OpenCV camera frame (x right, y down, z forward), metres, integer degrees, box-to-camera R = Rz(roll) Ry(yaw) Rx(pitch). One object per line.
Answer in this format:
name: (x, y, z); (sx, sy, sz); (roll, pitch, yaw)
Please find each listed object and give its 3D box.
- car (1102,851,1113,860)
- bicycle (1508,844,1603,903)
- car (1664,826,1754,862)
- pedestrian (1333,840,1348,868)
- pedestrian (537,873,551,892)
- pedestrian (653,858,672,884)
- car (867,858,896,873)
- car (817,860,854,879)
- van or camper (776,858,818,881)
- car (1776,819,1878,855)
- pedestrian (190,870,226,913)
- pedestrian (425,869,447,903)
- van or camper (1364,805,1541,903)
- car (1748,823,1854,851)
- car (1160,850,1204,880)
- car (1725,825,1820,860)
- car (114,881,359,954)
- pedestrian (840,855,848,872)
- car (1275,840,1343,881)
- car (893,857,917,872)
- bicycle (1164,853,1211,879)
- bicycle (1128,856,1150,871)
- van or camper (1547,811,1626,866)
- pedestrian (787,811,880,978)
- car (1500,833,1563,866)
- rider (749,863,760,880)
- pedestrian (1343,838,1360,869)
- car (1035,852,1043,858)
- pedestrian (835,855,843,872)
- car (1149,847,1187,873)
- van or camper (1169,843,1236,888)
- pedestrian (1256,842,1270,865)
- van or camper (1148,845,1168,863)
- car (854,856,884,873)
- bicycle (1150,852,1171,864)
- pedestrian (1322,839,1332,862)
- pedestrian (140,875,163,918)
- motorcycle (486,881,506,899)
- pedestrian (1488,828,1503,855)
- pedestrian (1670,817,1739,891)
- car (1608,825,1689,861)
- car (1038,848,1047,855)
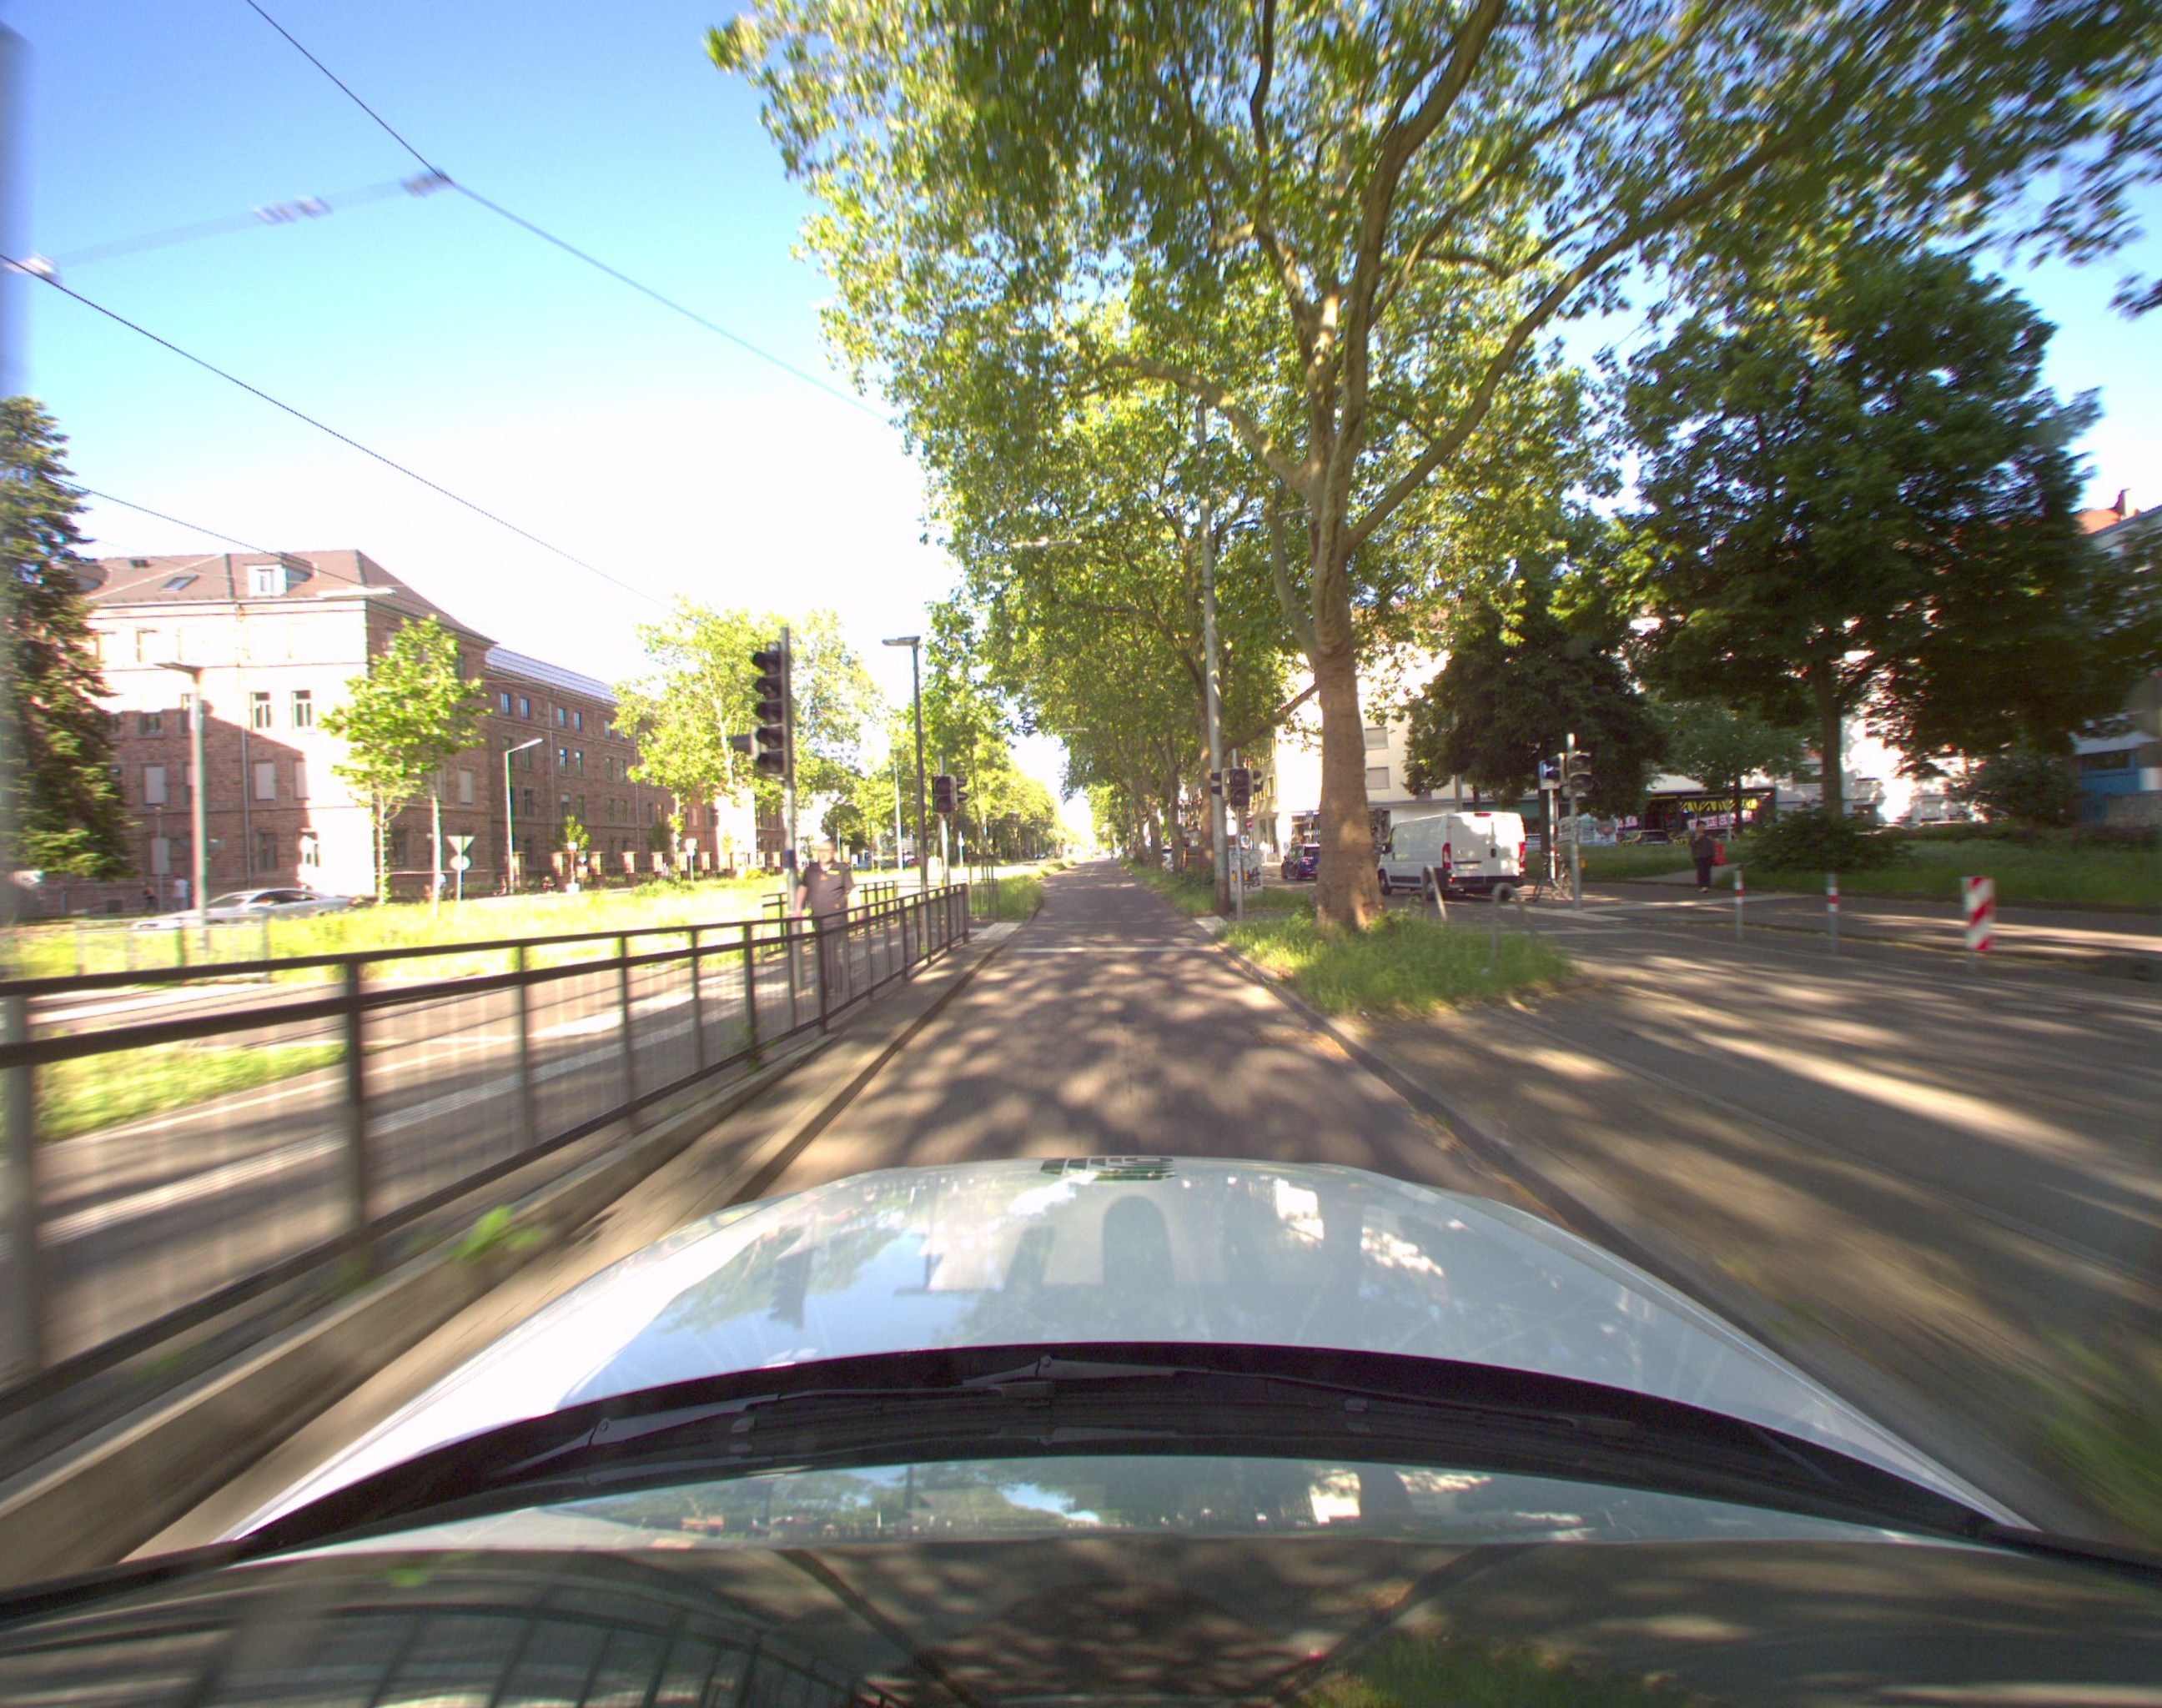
car: (5.063, 0.378, 158.422); (2.014, 1.662, 4.001); (-2, 0, 1)
bicycle: (10.895, 0.433, 18.750); (1.600, 1.263, 0.962); (-2, 0, -4)
car: (31.913, -0.506, 41.577); (1.978, 1.669, 4.766); (-2, 0, 16)
pedestrian: (15.990, 0.009, 50.139); (0.659, 1.728, 0.722); (-2, 0, 29)
pedestrian: (-32.758, 1.739, 49.650); (0.443, 1.100, 0.587); (-2, 0, -3)
pedestrian: (-31.543, 1.299, 61.384); (0.897, 1.899, 0.942); (-2, 0, 2)
car: (-23.716, 1.306, 97.004); (1.984, 1.615, 4.427); (-2, 0, 6)
car: (-24.274, 1.530, 80.856); (1.986, 1.649, 4.830); (-2, 1, 2)
van or camper: (-24.378, 1.323, 70.048); (1.987, 1.787, 4.431); (-3, 0, -1)
car: (36.778, -0.828, 40.312); (1.978, 1.628, 4.409); (-2, 0, 16)
pedestrian: (-36.245, 1.544, 33.817); (0.682, 1.695, 0.820); (-2, 0, -18)
pedestrian: (-33.119, 1.618, 41.818); (0.684, 1.695, 0.876); (-2, 0, -27)
van or camper: (9.957, 0.008, 22.528); (2.283, 2.286, 5.824); (-1, 0, 1)
car: (43.384, -1.025, 49.199); (4.347, 1.536, 2.009); (-2, 0, 17)
car: (5.120, 0.525, 41.800); (1.747, 1.398, 5.028); (-2, 0, 1)
car: (34.623, -0.558, 40.922); (1.978, 1.628, 4.409); (-2, 0, 16)
car: (-23.004, 1.658, 22.488); (1.756, 1.622, 4.485); (-2, 0, 8)
pedestrian: (-29.689, 1.174, 101.858); (0.712, 2.013, 0.626); (-2, 0, 2)
car: (10.558, 0.295, 38.062); (1.813, 1.742, 5.169); (-2, 0, 2)
car: (-23.292, 1.429, 107.995); (2.102, 1.809, 4.737); (-2, 0, 0)
bicycle: (4.910, 0.544, 37.585); (2.063, 1.124, 0.677); (-2, 0, 0)
bicycle: (4.314, 0.729, 60.420); (1.584, 1.058, 0.405); (-2, 0, 8)
van or camper: (26.555, -0.777, 42.988); (2.130, 2.636, 5.613); (-2, 0, 17)
pedestrian: (-2.621, 0.412, 8.708); (0.710, 1.680, 0.772); (-2, 0, 0)
car: (24.069, -0.252, 43.677); (1.978, 1.628, 4.409); (-2, 0, 16)
rider: (-30.912, 1.652, 77.052); (0.725, 1.644, 0.686); (-2, 0, 2)
pedestrian: (14.702, -0.031, 44.215); (0.675, 1.651, 0.907); (-2, 0, 8)
car: (-11.405, 0.205, 222.312); (1.788, 1.508, 4.341); (-5, 0, 3)
pedestrian: (-30.216, 1.197, 101.757); (0.712, 2.013, 0.626); (-2, 0, 2)
car: (5.808, 0.387, 54.842); (1.897, 1.636, 4.822); (-2, 0, -1)
van or camper: (4.601, 0.430, 31.256); (1.504, 1.588, 2.825); (-2, 0, -15)
pedestrian: (13.824, -0.064, 61.871); (0.793, 1.704, 0.724); (-2, 0, 1)
van or camper: (8.921, -0.006, 94.749); (1.828, 2.098, 4.774); (1, 0, 0)
car: (-23.810, 1.155, 91.510); (1.759, 1.719, 4.427); (-2, 0, 6)
bicycle: (8.690, 0.410, 88.777); (2.156, 1.294, 0.983); (-1, 0, 1)
pedestrian: (18.178, -0.267, 60.206); (0.587, 1.650, 0.726); (-2, 0, 12)
pedestrian: (-37.509, 1.718, 32.873); (0.373, 1.695, 0.450); (-2, 0, 8)
motorcycle: (-32.641, 2.011, 45.452); (0.333, 0.946, 1.043); (-2, 0, -2)
pedestrian: (28.166, -0.874, 55.339); (0.716, 1.809, 0.692); (-2, 0, 15)
pedestrian: (14.136, 0.000, 18.500); (0.729, 1.616, 1.035); (-2, 0, 1)
car: (29.201, -0.550, 42.066); (1.978, 1.669, 4.766); (-2, 0, 16)
car: (-10.997, -0.601, 233.855); (1.985, 1.870, 4.876); (-4, 0, 3)
